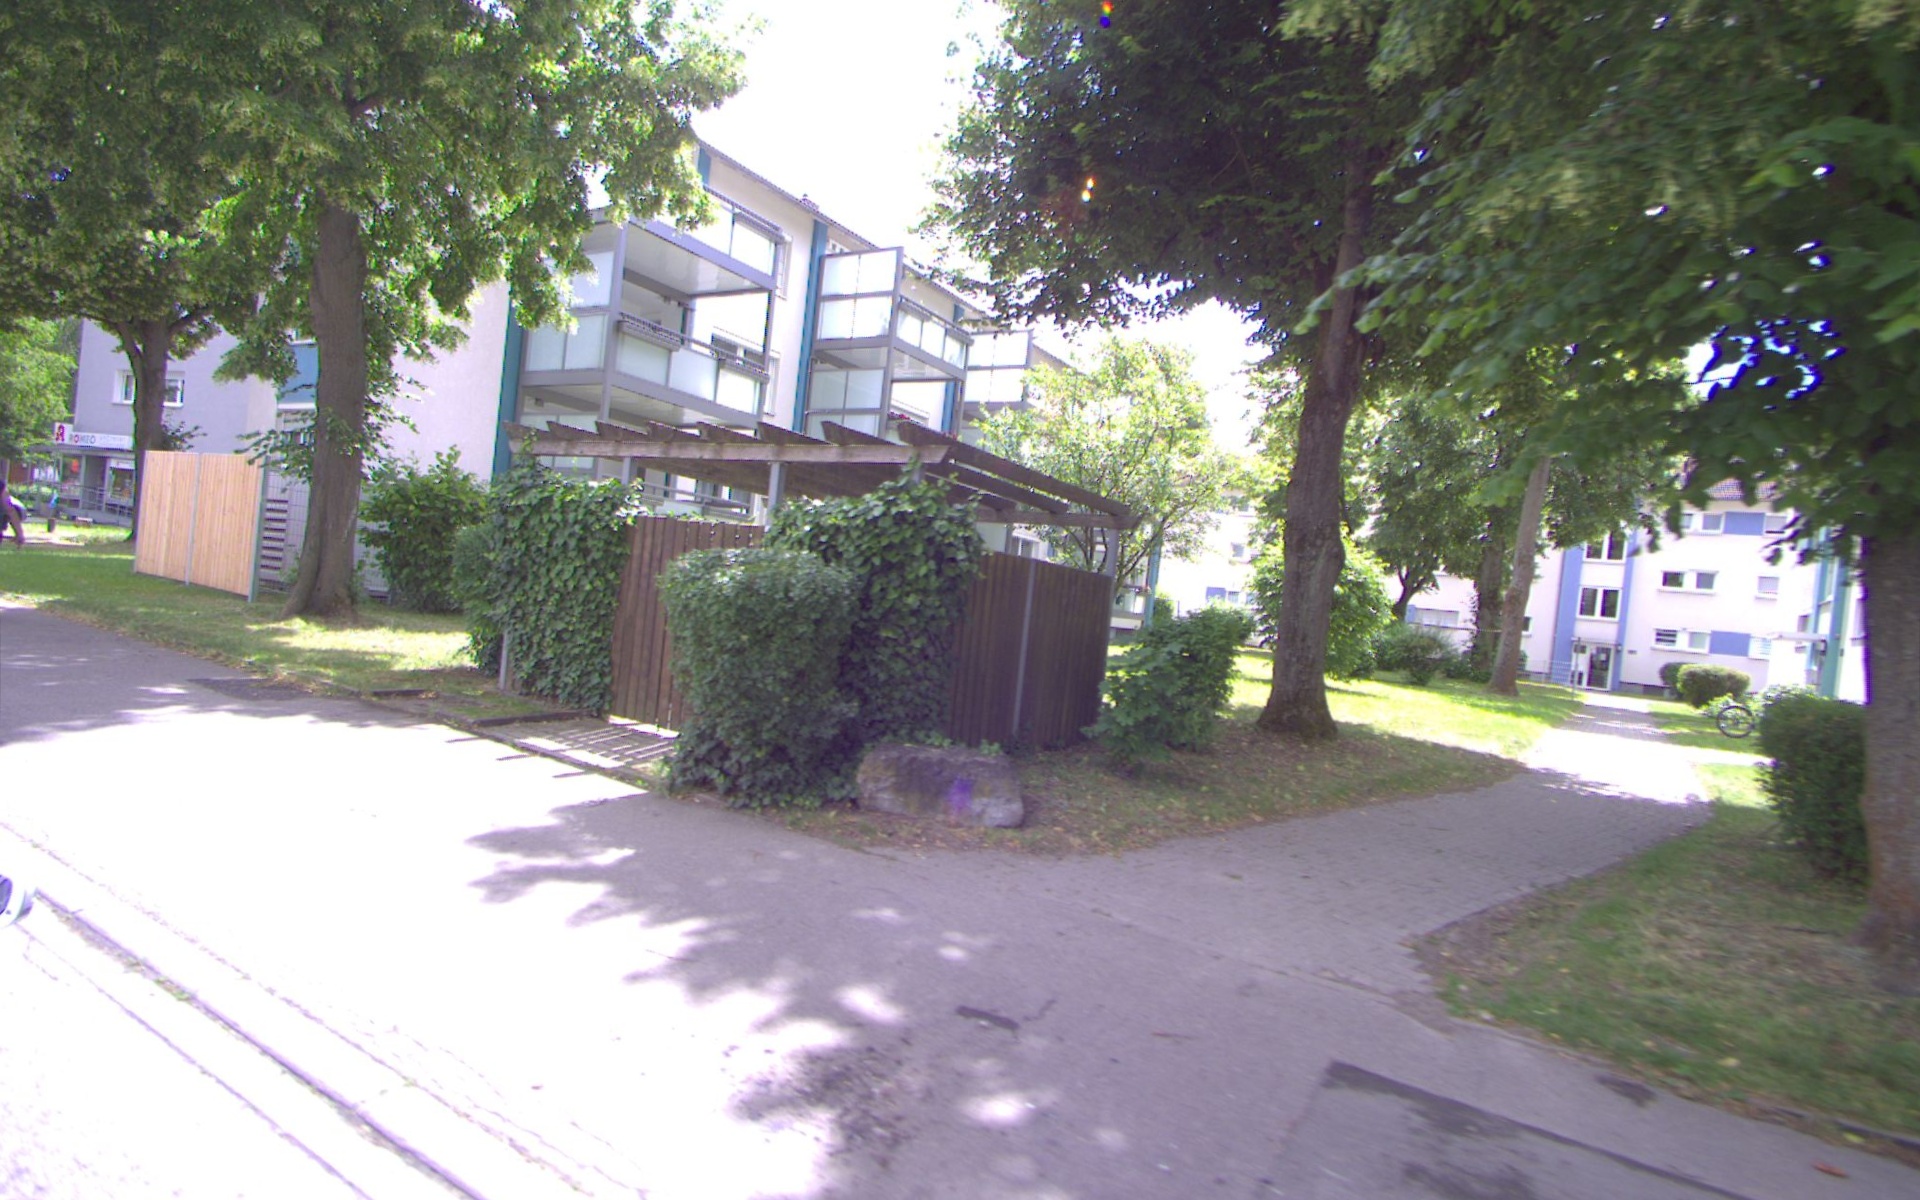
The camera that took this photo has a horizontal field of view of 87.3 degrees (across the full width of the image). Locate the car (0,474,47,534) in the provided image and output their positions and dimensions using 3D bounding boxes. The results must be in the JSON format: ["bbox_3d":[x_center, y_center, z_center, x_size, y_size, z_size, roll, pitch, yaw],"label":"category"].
[{"bbox_3d":[-28.829,-3.012,28.452,1.727,1.579,4.002,7,-1,20],"label":"car"}]

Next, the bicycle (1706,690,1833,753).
[{"bbox_3d":[16.515,2.461,20.587,1.884,0.964,0.528,7,2,32],"label":"bicycle"}]

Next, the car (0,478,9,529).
[{"bbox_3d":[-31.693,-3.291,30.272,1.727,1.579,4.002,7,-1,20],"label":"car"}]

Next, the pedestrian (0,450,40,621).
[{"bbox_3d":[-10.166,-0.701,10.383,0.753,1.728,0.718,8,3,31],"label":"pedestrian"}]
